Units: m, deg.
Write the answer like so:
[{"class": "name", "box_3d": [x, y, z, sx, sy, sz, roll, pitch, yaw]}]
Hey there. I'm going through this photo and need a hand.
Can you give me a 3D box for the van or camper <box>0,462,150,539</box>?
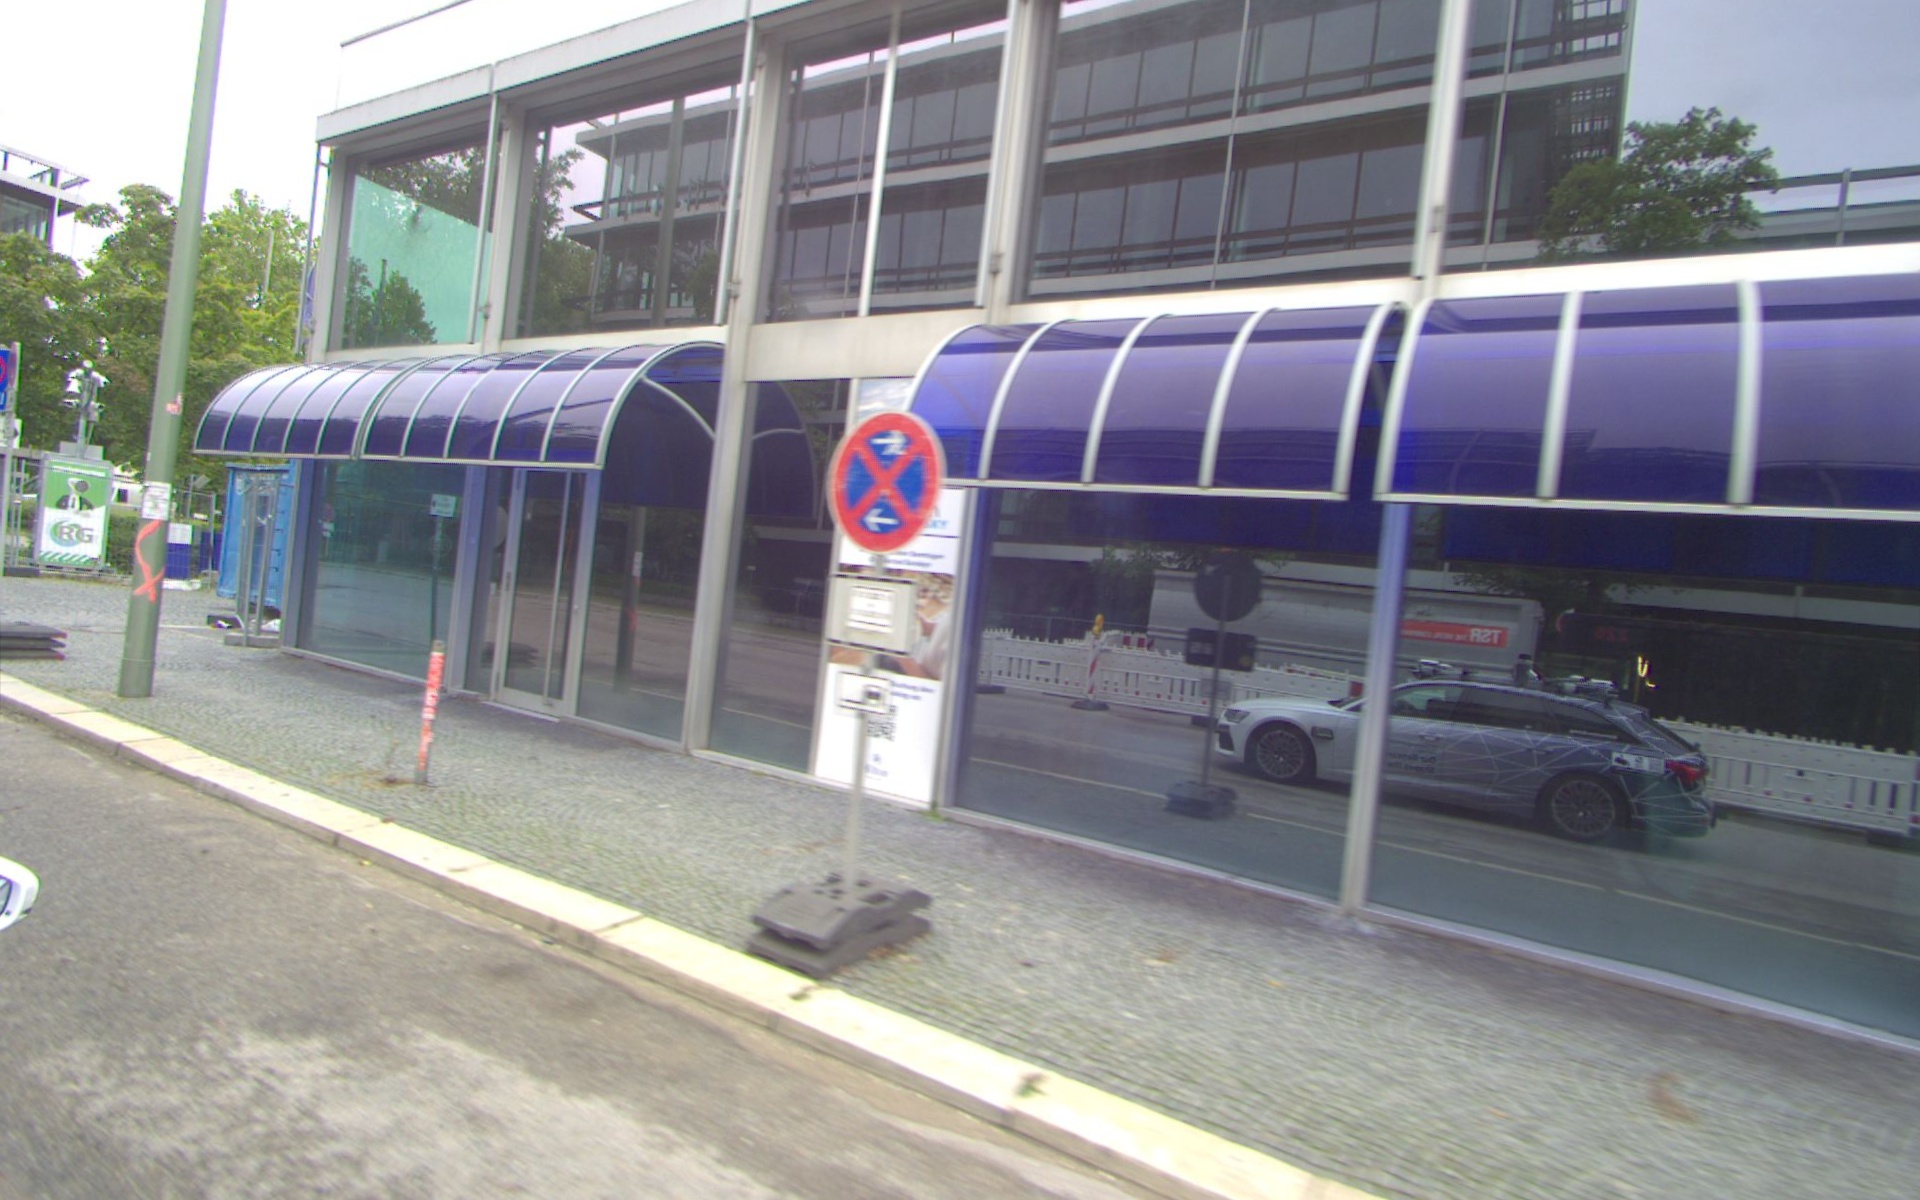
[{"class": "van or camper", "box_3d": [-39.153, -4.366, 44.605, 2.069, 2.617, 4.464, 7, 0, 21]}]
